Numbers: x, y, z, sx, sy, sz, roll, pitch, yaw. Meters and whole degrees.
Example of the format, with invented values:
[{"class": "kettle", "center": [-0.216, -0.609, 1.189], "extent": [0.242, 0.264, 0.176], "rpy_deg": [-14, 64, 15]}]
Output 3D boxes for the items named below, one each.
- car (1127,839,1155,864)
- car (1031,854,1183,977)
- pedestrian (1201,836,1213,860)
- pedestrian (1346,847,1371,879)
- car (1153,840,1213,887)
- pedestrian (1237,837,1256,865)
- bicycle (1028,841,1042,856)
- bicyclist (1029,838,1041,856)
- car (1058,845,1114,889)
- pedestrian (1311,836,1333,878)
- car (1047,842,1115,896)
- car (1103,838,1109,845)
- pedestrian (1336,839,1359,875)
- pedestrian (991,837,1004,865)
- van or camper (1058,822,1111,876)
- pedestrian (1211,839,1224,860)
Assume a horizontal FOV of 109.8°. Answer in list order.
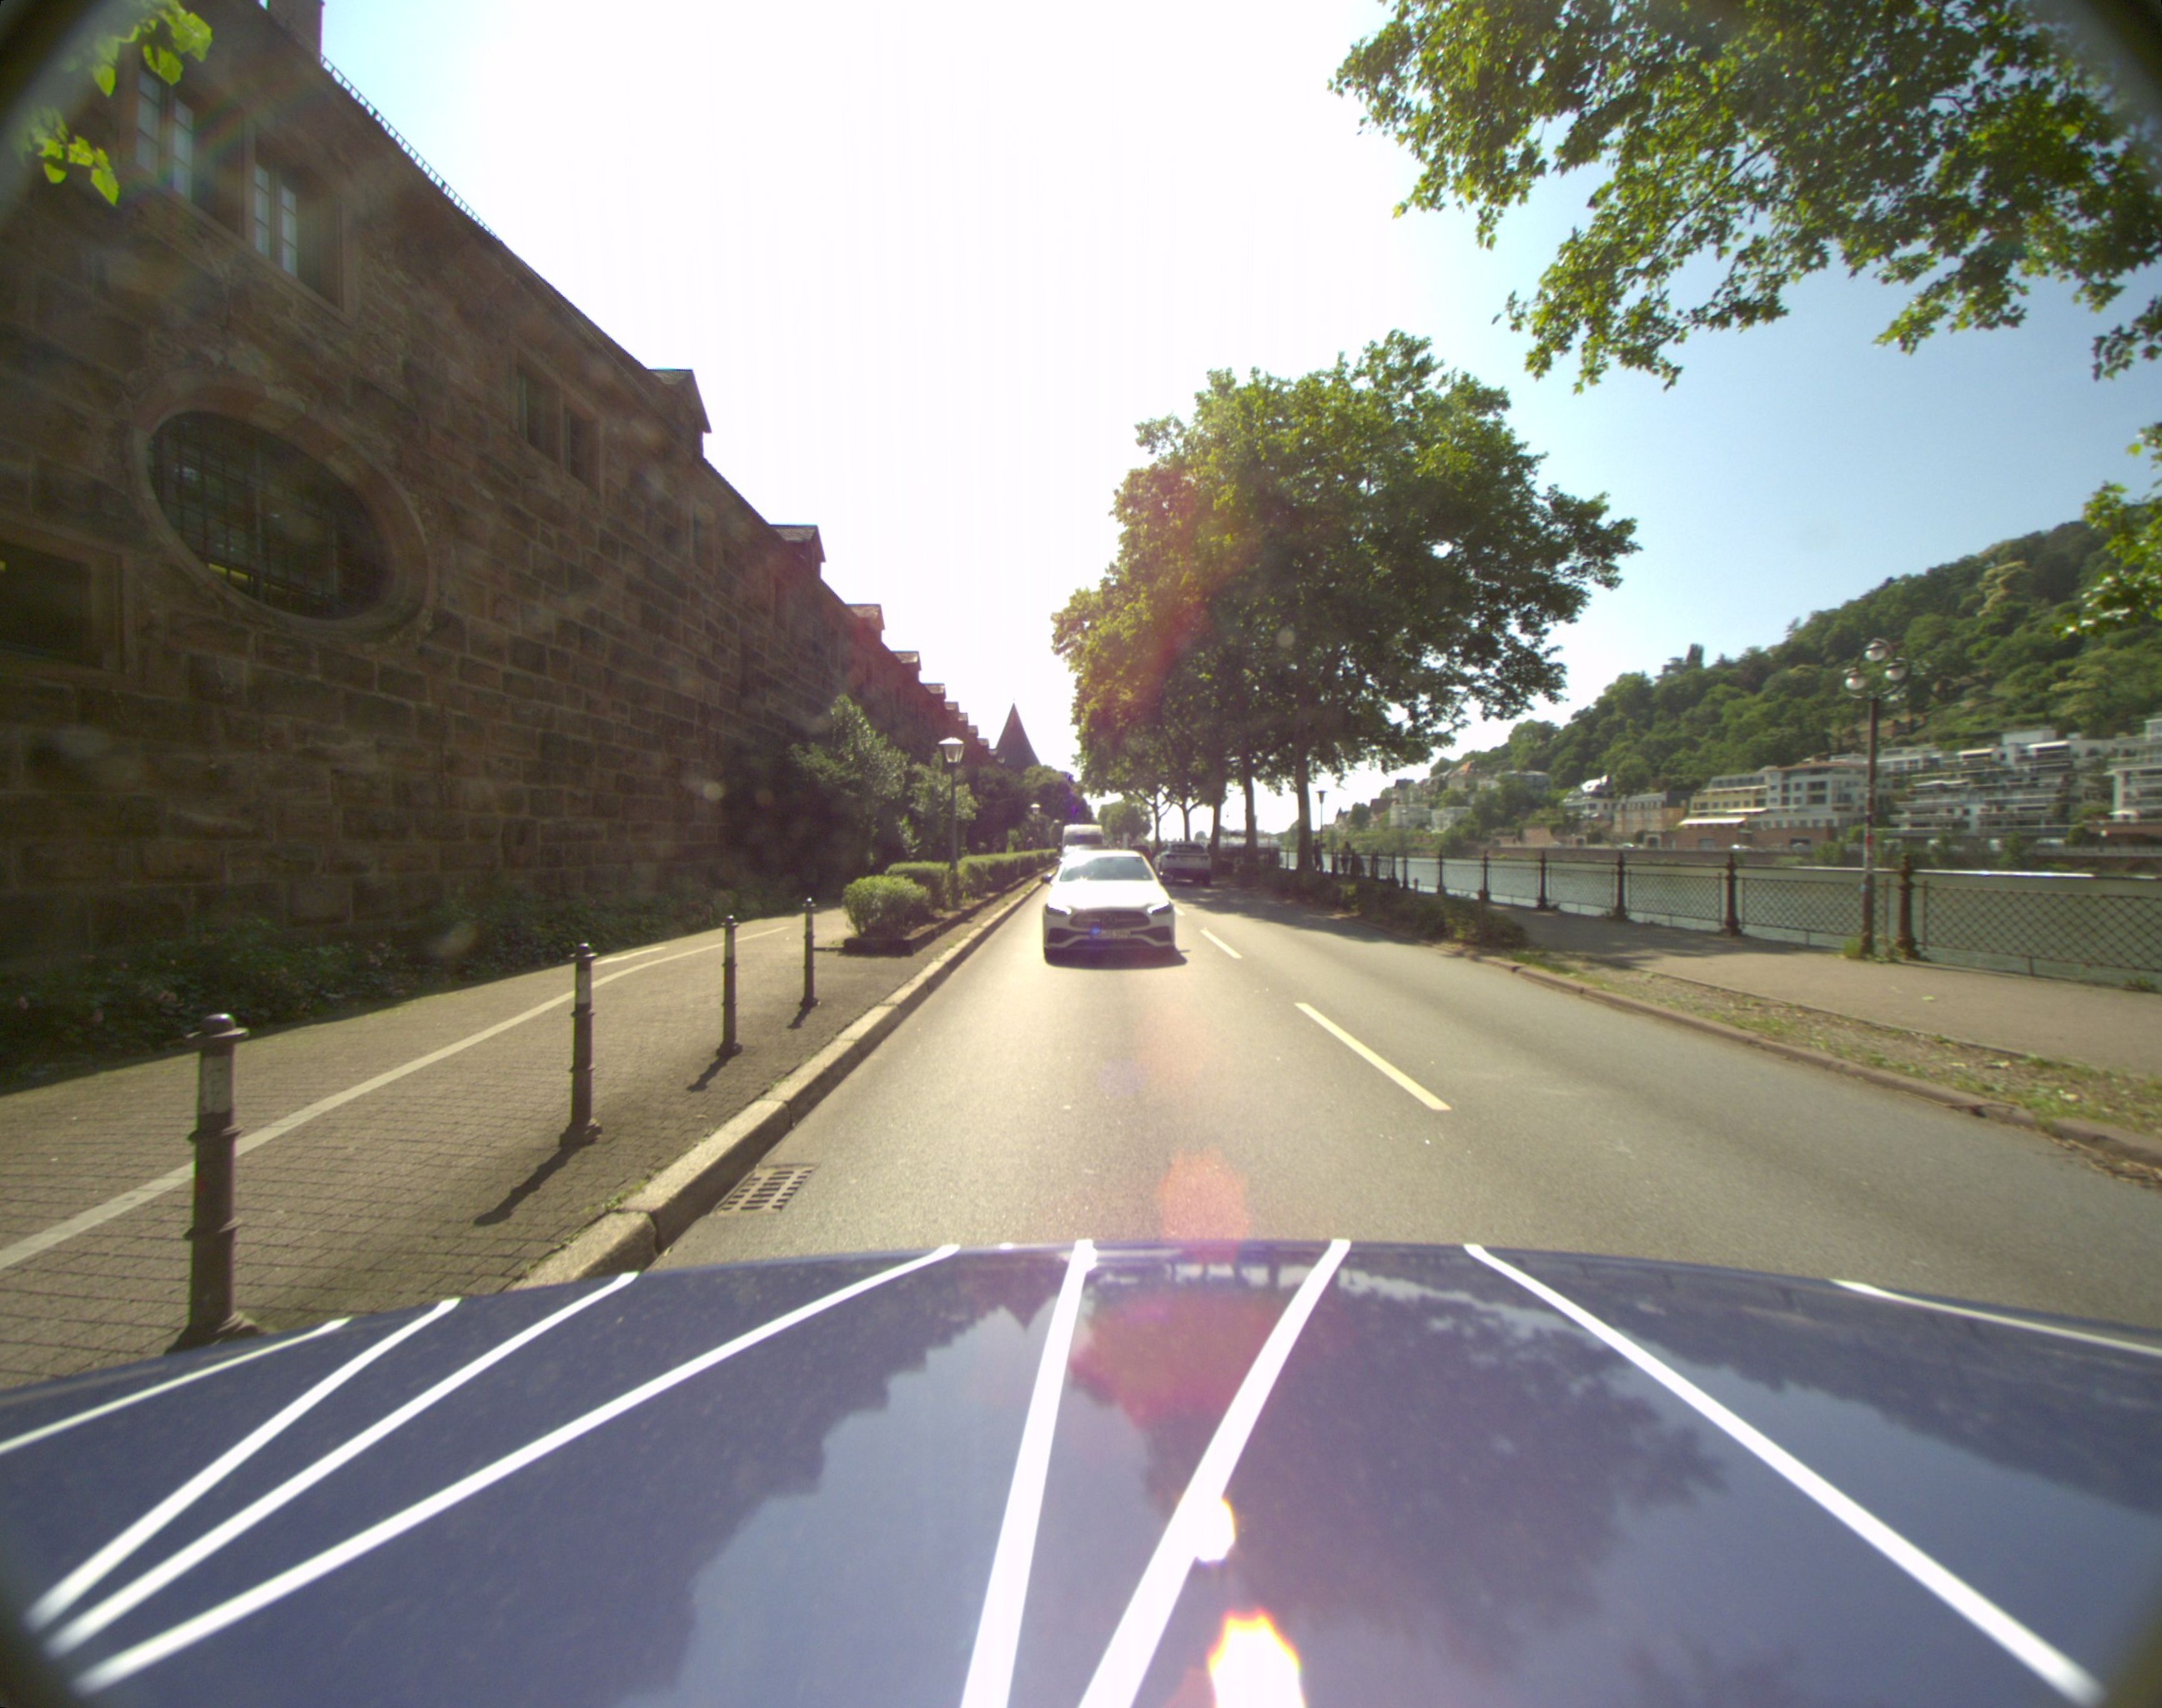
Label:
[{"class": "car", "center": [4.299, -0.214, 55.268], "extent": [1.677, 1.651, 4.222], "rpy_deg": [3, 1, 0]}, {"class": "car", "center": [0.350, 0.758, 11.461], "extent": [1.833, 1.395, 4.269], "rpy_deg": [-2, 1, 1]}, {"class": "pedestrian", "center": [9.987, -0.484, 60.192], "extent": [0.806, 1.839, 0.929], "rpy_deg": [-2, 2, 1]}, {"class": "pedestrian", "center": [12.246, 0.387, 33.532], "extent": [0.768, 1.379, 0.770], "rpy_deg": [1, 2, 0]}, {"class": "car", "center": [3.872, 0.316, 29.431], "extent": [1.773, 1.651, 3.999], "rpy_deg": [2, 1, 1]}, {"class": "pedestrian", "center": [12.154, -0.193, 55.806], "extent": [1.047, 2.002, 1.036], "rpy_deg": [0, 3, 31]}, {"class": "bicycle", "center": [-3.201, -0.368, 53.176], "extent": [0.812, 0.967, 2.408], "rpy_deg": [-2, 2, 0]}, {"class": "bicyclist", "center": [-3.214, -0.490, 53.184], "extent": [0.812, 1.264, 0.852], "rpy_deg": [-2, 2, 0]}, {"class": "car", "center": [0.205, 0.419, 28.007], "extent": [1.833, 1.395, 4.423], "rpy_deg": [-2, 1, 1]}, {"class": "pedestrian", "center": [10.941, 0.127, 34.542], "extent": [0.767, 1.890, 0.771], "rpy_deg": [1, 2, 8]}, {"class": "car", "center": [0.037, 0.386, 23.051], "extent": [1.833, 1.428, 4.269], "rpy_deg": [-2, 1, 1]}, {"class": "car", "center": [8.414, -4.244, 256.020], "extent": [2.165, 2.002, 3.999], "rpy_deg": [-2, 2, 1]}, {"class": "pedestrian", "center": [13.066, 0.137, 37.257], "extent": [0.777, 1.748, 0.830], "rpy_deg": [1, 2, 0]}, {"class": "pedestrian", "center": [-4.700, -0.177, 42.855], "extent": [0.643, 1.555, 0.563], "rpy_deg": [-2, 2, 1]}, {"class": "van or camper", "center": [0.161, -0.275, 36.848], "extent": [2.313, 2.358, 5.034], "rpy_deg": [1, 1, 0]}, {"class": "pedestrian", "center": [10.893, -0.338, 60.619], "extent": [0.897, 1.625, 1.059], "rpy_deg": [-1, 2, 6]}]
